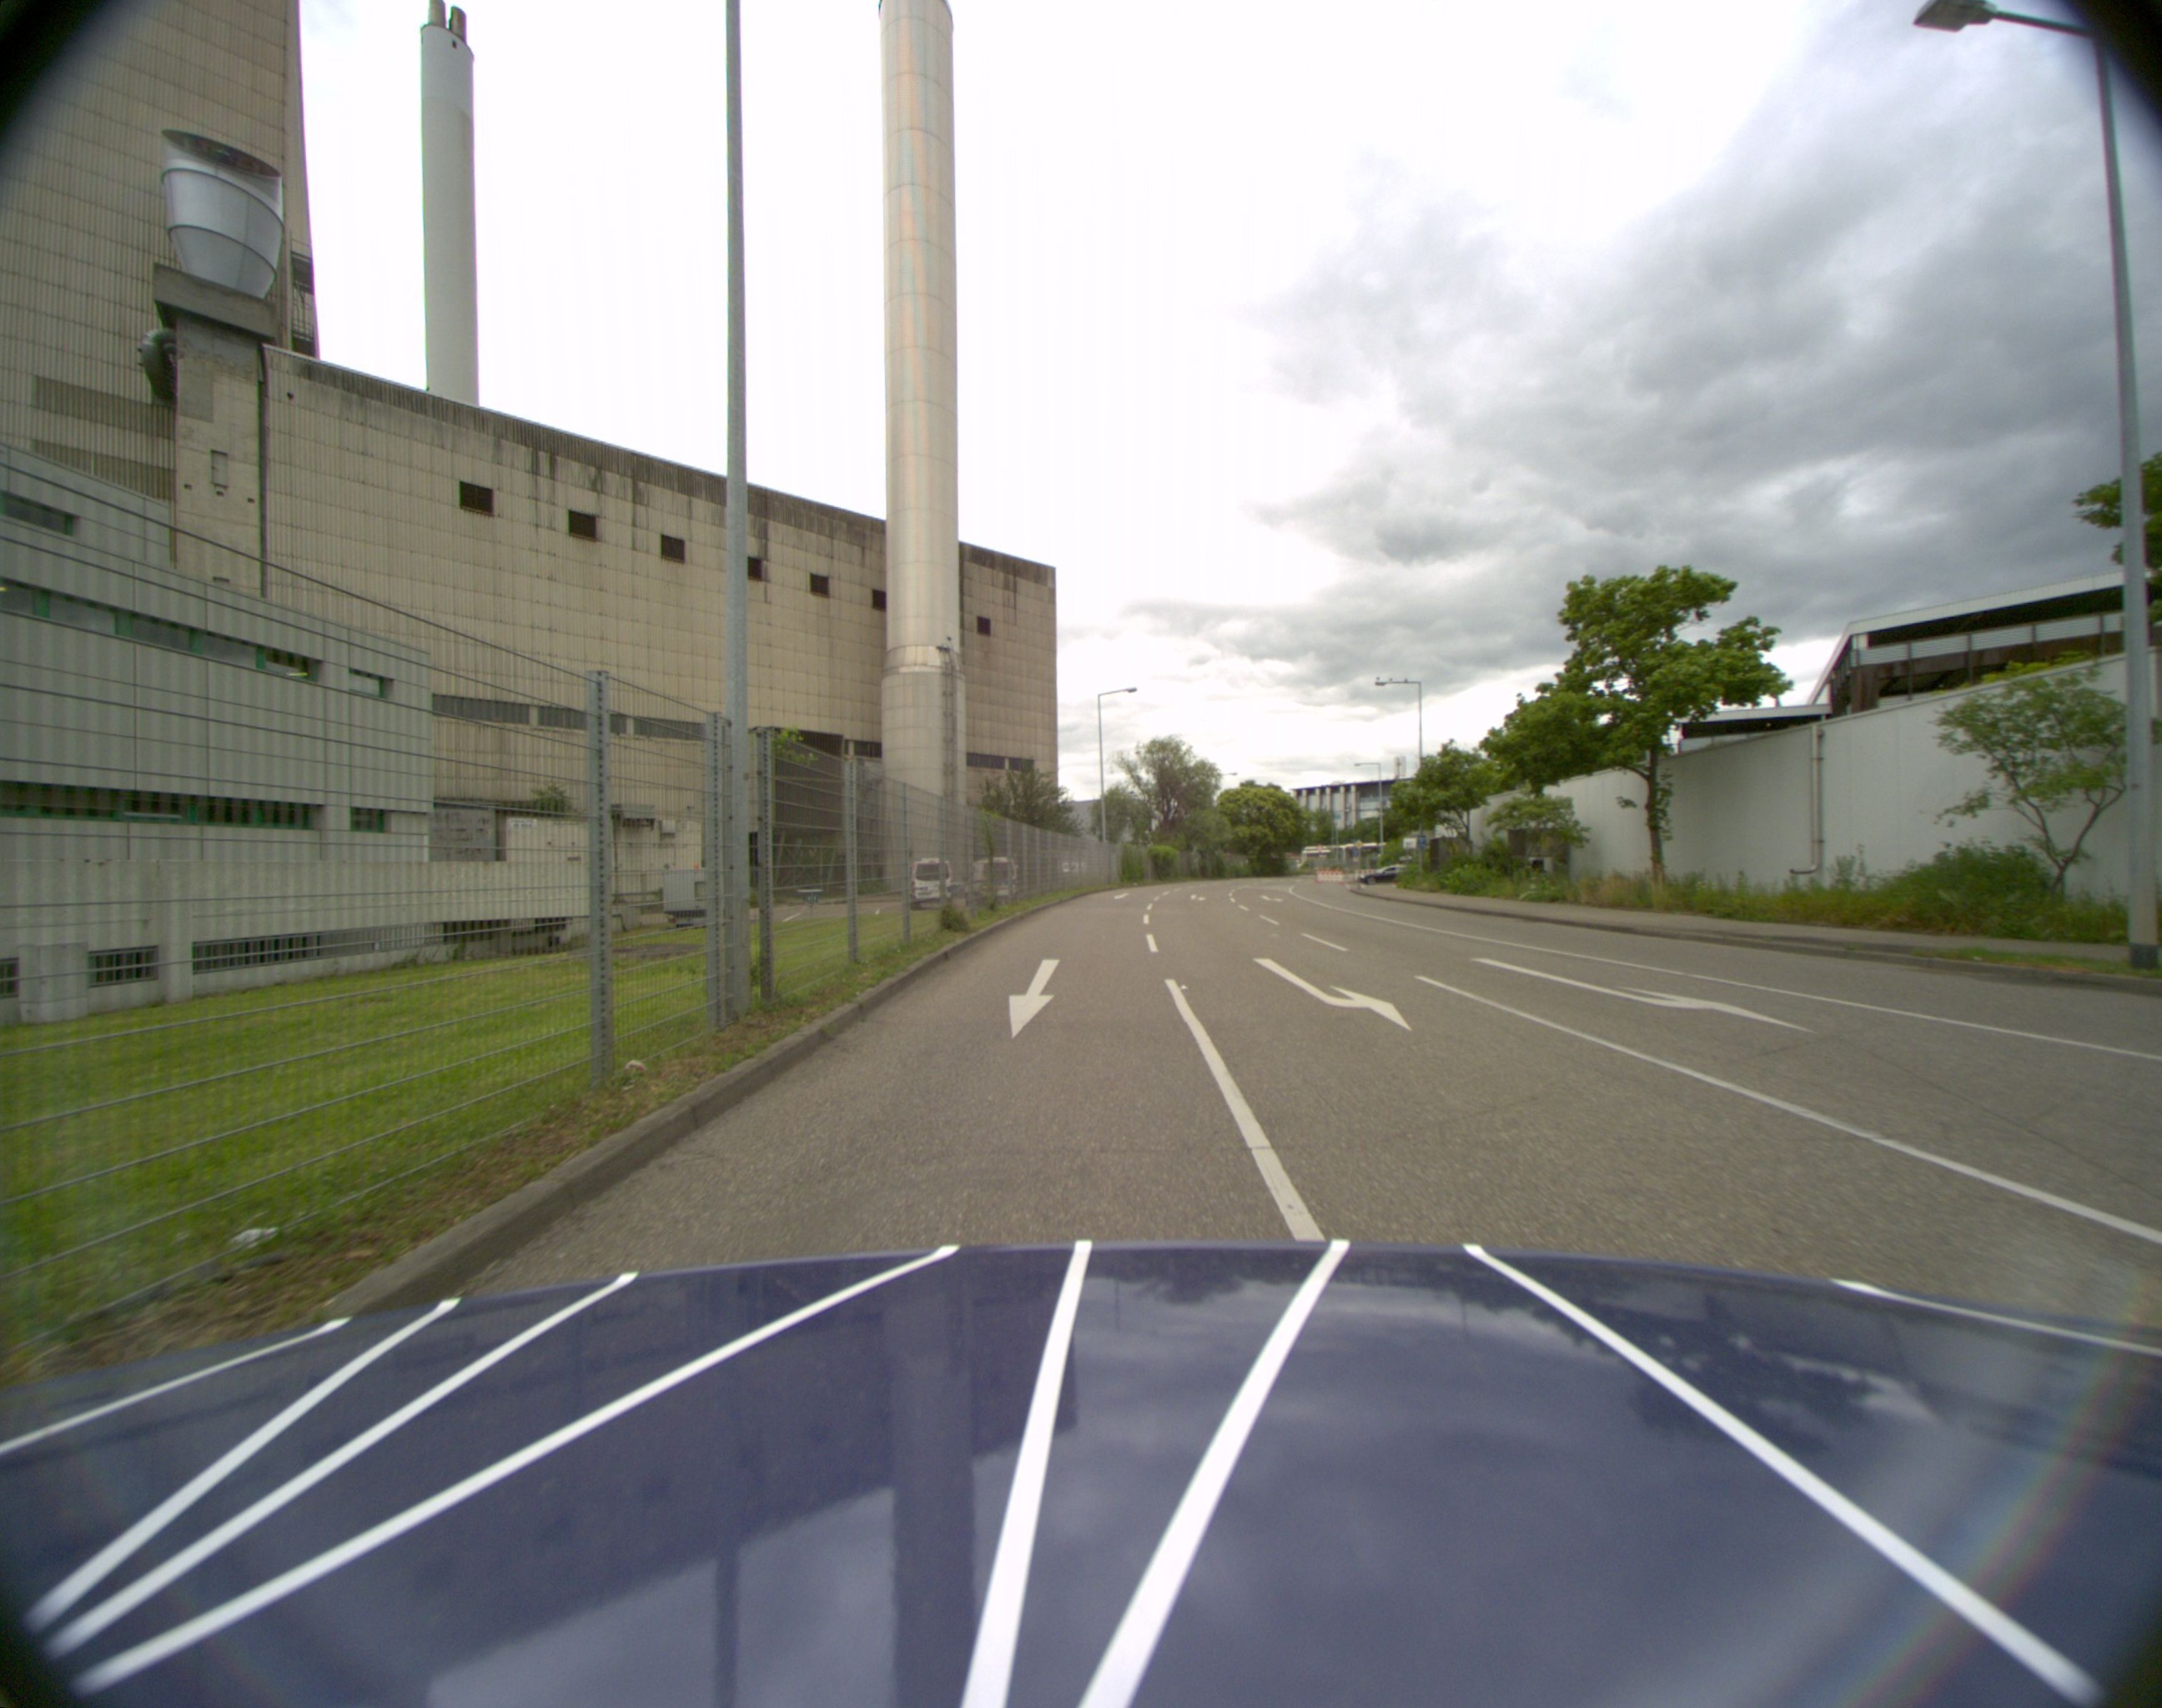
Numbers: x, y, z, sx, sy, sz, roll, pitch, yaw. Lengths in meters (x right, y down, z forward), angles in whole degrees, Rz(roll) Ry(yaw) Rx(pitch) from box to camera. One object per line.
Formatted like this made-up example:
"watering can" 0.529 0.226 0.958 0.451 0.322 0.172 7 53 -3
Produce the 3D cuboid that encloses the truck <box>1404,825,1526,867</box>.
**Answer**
"truck" 33.698 -0.654 67.113 9.261 3.574 2.935 0 0 14

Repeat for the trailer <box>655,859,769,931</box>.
"trailer" -14.791 1.542 30.947 2.665 2.528 6.427 -2 -1 -12

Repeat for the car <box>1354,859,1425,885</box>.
"car" 23.130 1.347 57.122 4.614 1.799 2.002 -2 -1 13

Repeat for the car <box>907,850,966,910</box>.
"car" -7.405 1.375 38.524 2.429 2.745 5.450 -2 -3 -16

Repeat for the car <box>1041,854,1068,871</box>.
"car" -3.879 1.253 110.597 1.996 2.353 5.847 -2 -1 18

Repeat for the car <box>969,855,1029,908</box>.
"car" -4.439 1.495 40.130 2.240 2.531 5.186 -2 -3 -16

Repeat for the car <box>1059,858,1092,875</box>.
"car" -0.714 1.772 108.152 1.995 2.353 5.850 -2 -1 30
